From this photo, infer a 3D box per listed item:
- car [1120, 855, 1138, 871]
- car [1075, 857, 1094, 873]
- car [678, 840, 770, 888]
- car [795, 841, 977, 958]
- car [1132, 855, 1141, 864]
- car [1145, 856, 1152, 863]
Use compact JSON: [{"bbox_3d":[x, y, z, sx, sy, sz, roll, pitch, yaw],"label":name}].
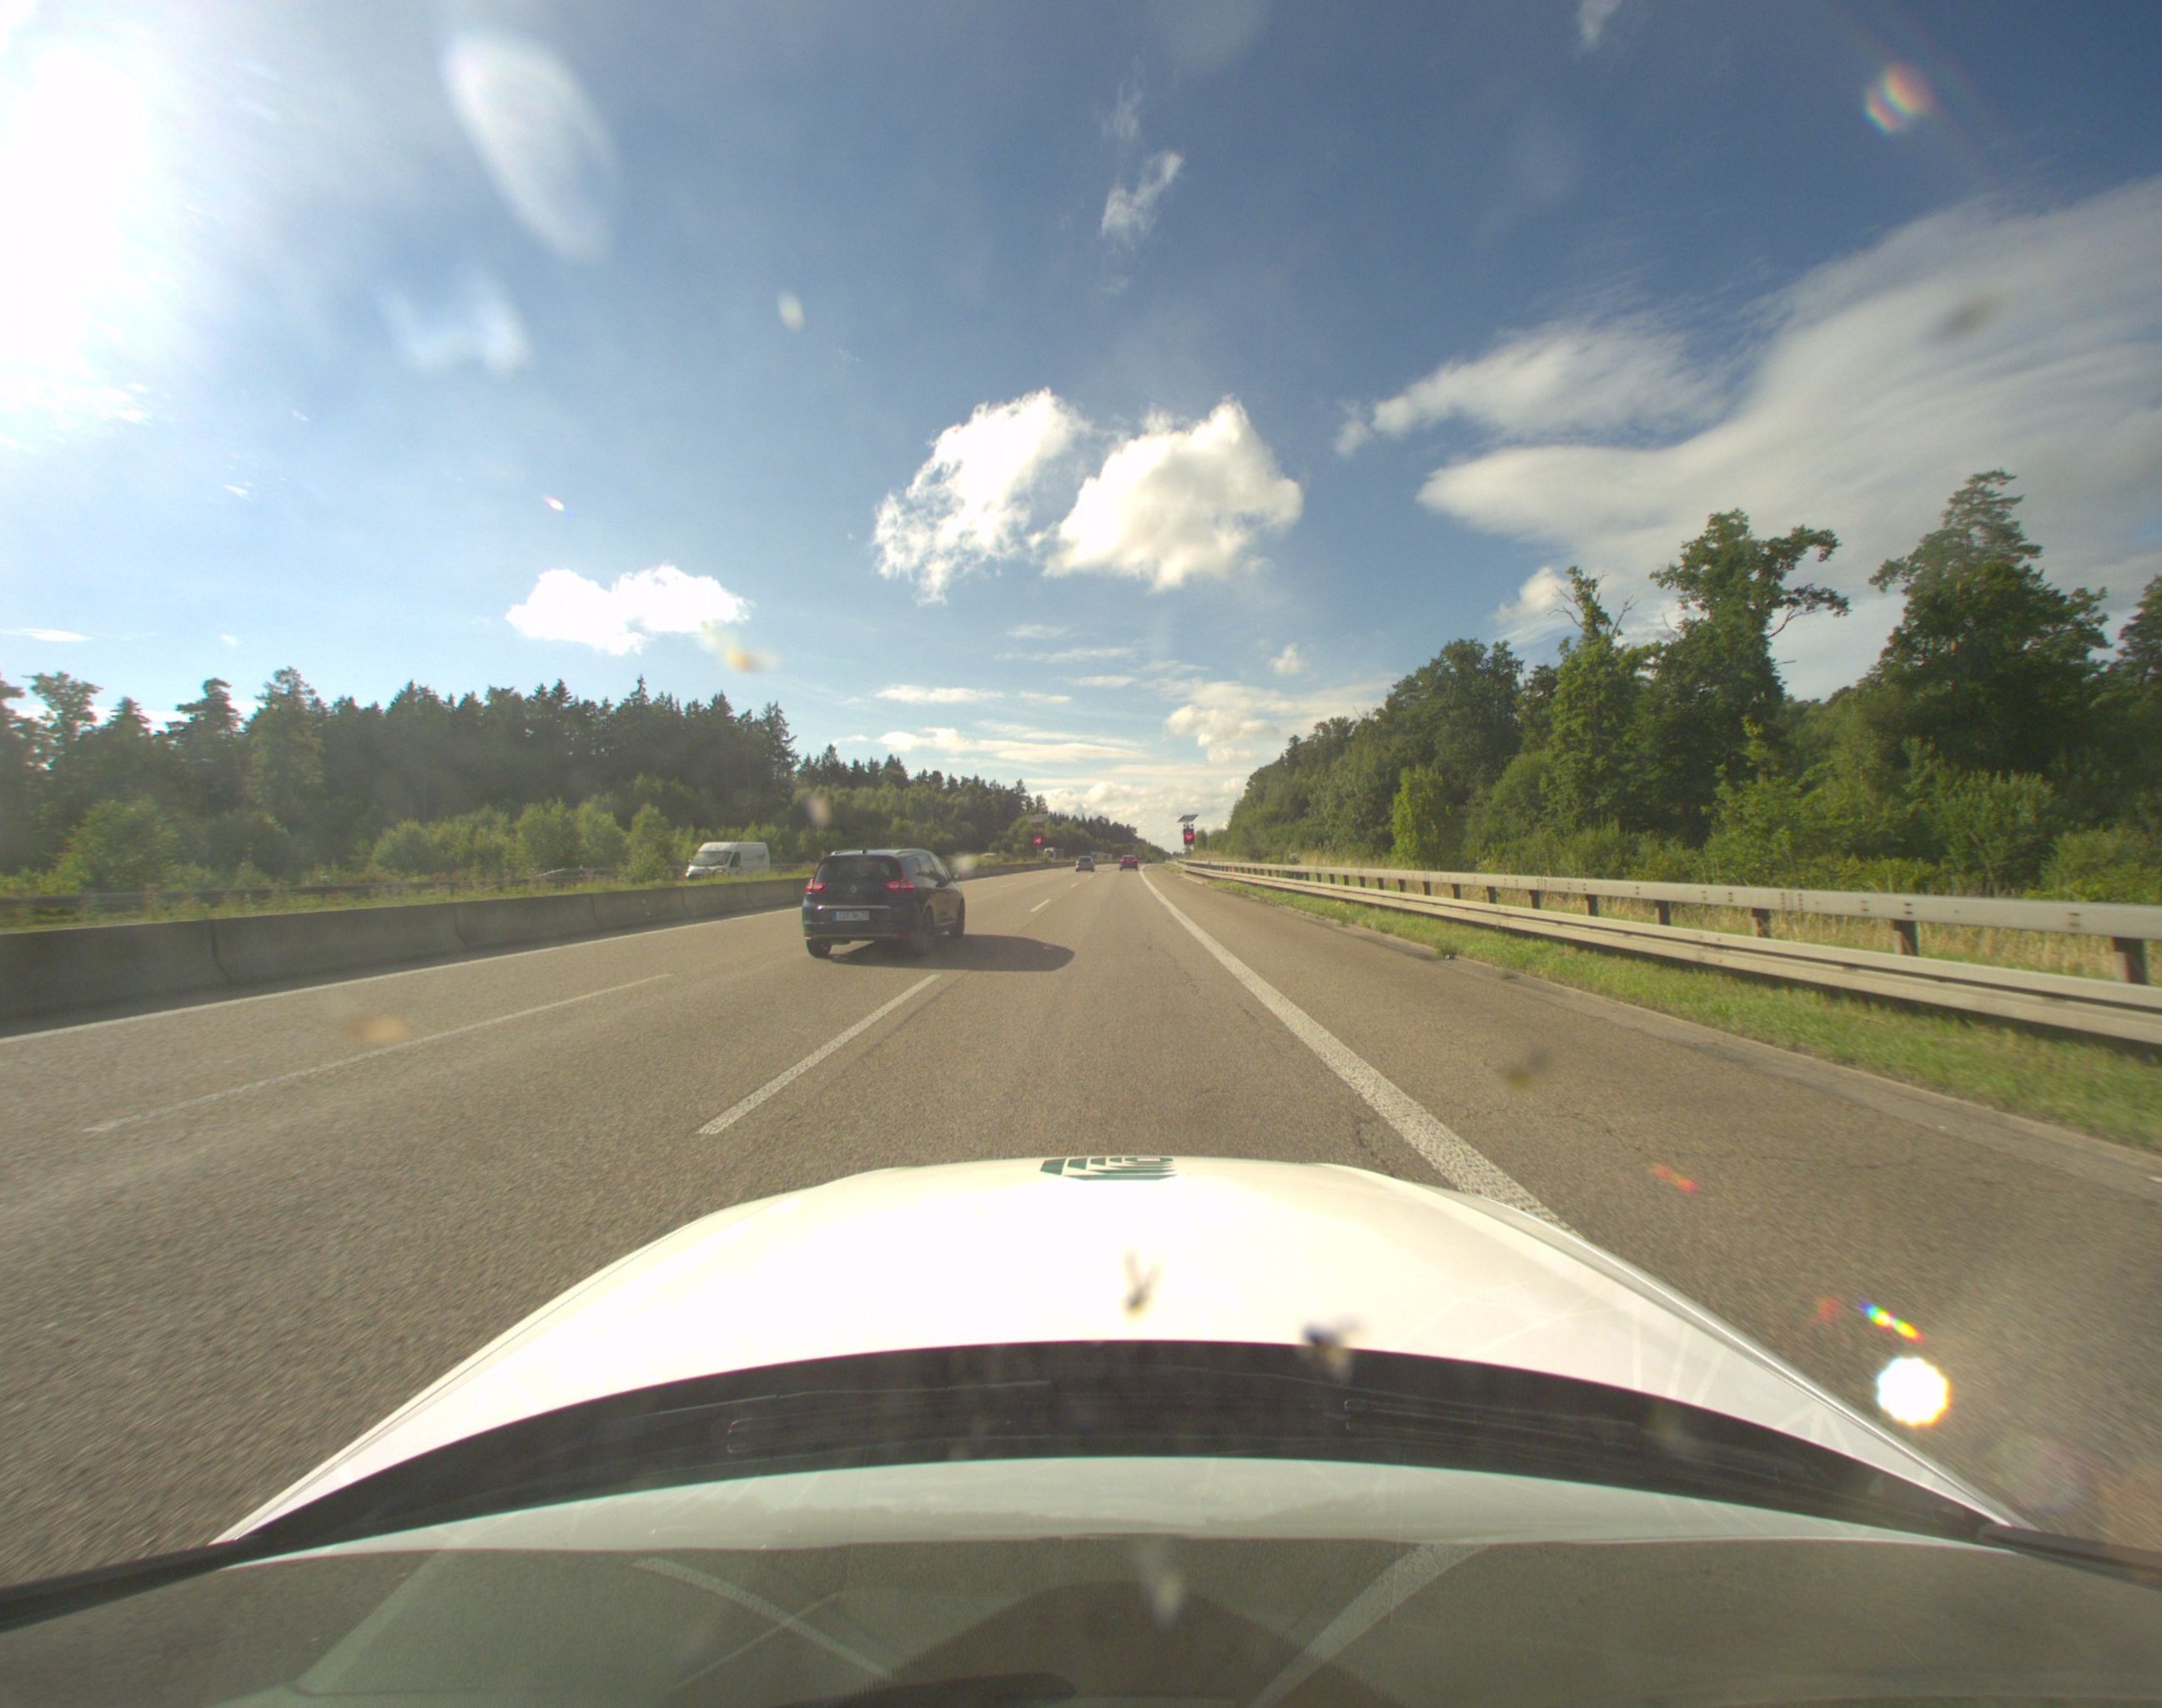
[{"bbox_3d":[5.083,0.925,86.013,1.866,1.675,3.893,0,0,3],"label":"car"},{"bbox_3d":[0.325,1.092,82.217,1.868,1.497,3.879,0,0,-1],"label":"car"},{"bbox_3d":[-17.580,0.467,40.462,2.056,2.244,5.207,0,0,3],"label":"car"},{"bbox_3d":[-3.173,0.670,14.314,1.986,1.707,4.530,-1,0,1],"label":"car"},{"bbox_3d":[12.193,1.216,179.643,1.986,2.013,4.002,0,0,2],"label":"car"},{"bbox_3d":[17.287,1.446,209.244,1.804,1.706,4.005,-1,0,4],"label":"car"}]
